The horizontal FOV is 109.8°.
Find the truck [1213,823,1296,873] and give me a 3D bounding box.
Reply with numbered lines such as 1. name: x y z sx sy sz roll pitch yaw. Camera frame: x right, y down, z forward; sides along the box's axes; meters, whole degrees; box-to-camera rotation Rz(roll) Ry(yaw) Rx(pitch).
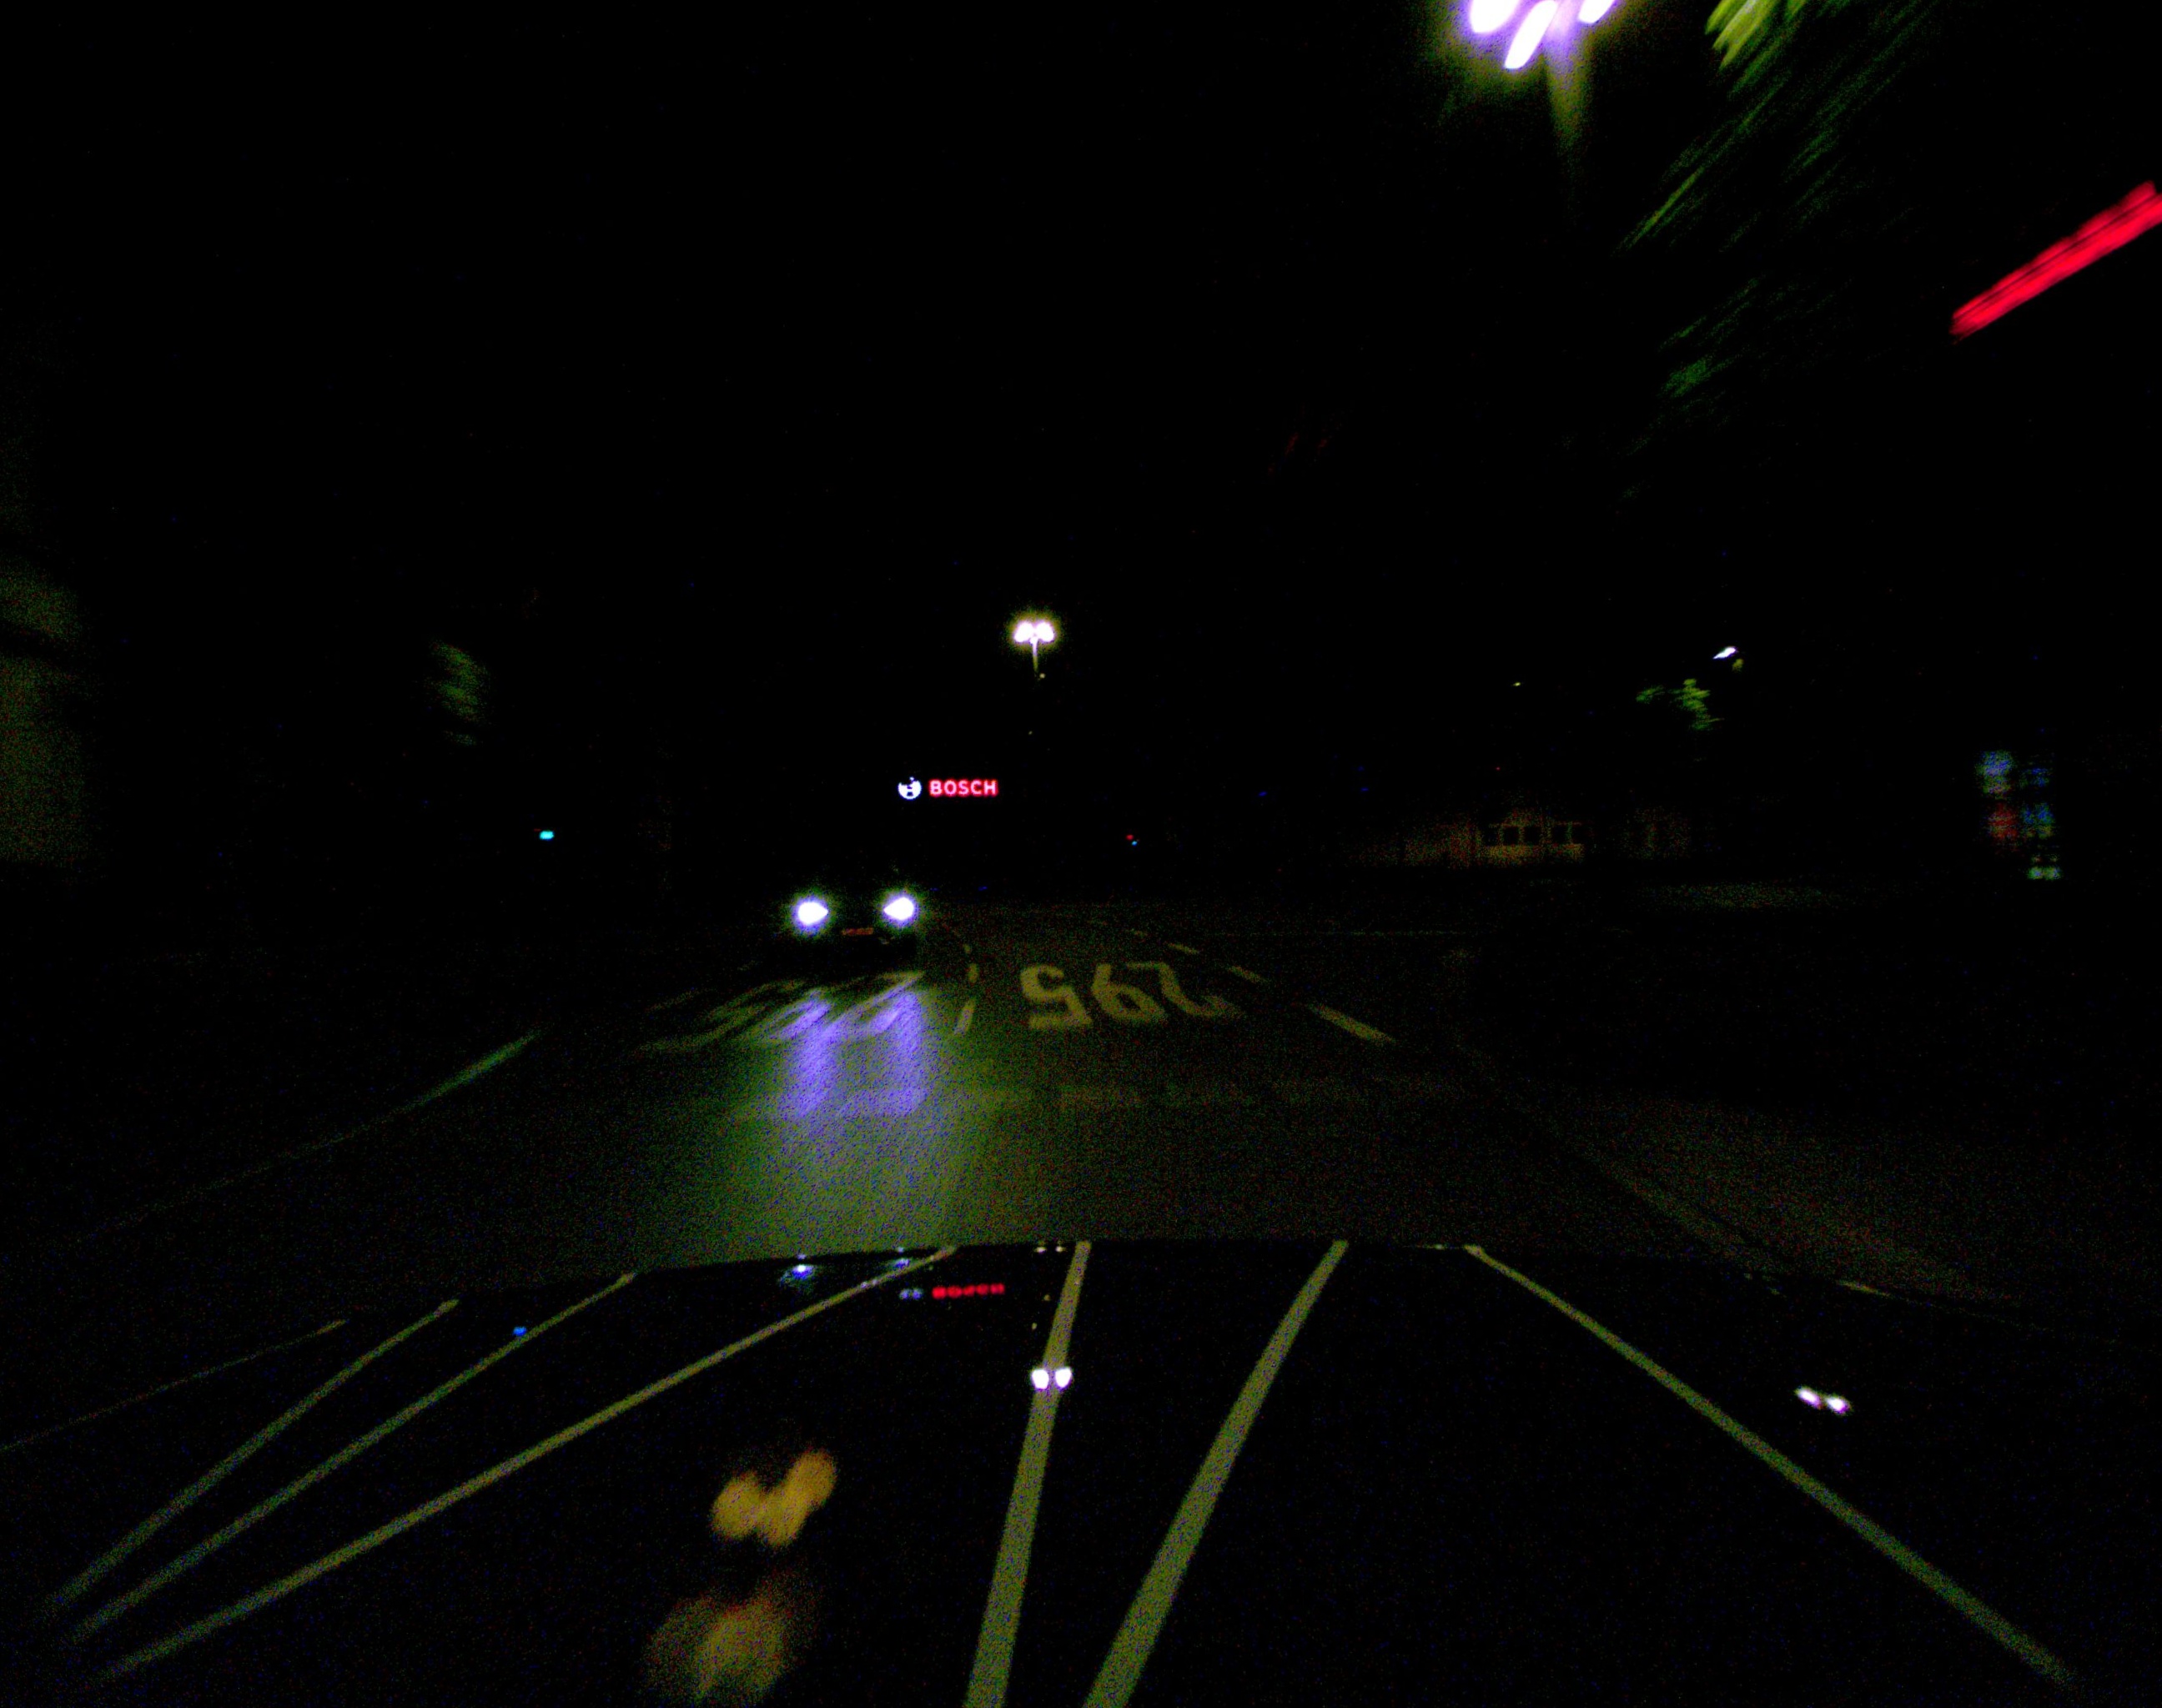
1. truck: 13.894 -0.456 60.945 6.196 3.672 2.404 -2 0 14

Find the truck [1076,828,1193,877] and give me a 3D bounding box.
1. truck: 4.391 -0.085 63.108 9.340 3.700 2.002 -2 0 17

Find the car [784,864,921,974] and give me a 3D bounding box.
1. car: -4.064 1.023 13.701 2.001 1.606 3.995 -1 -1 -16
